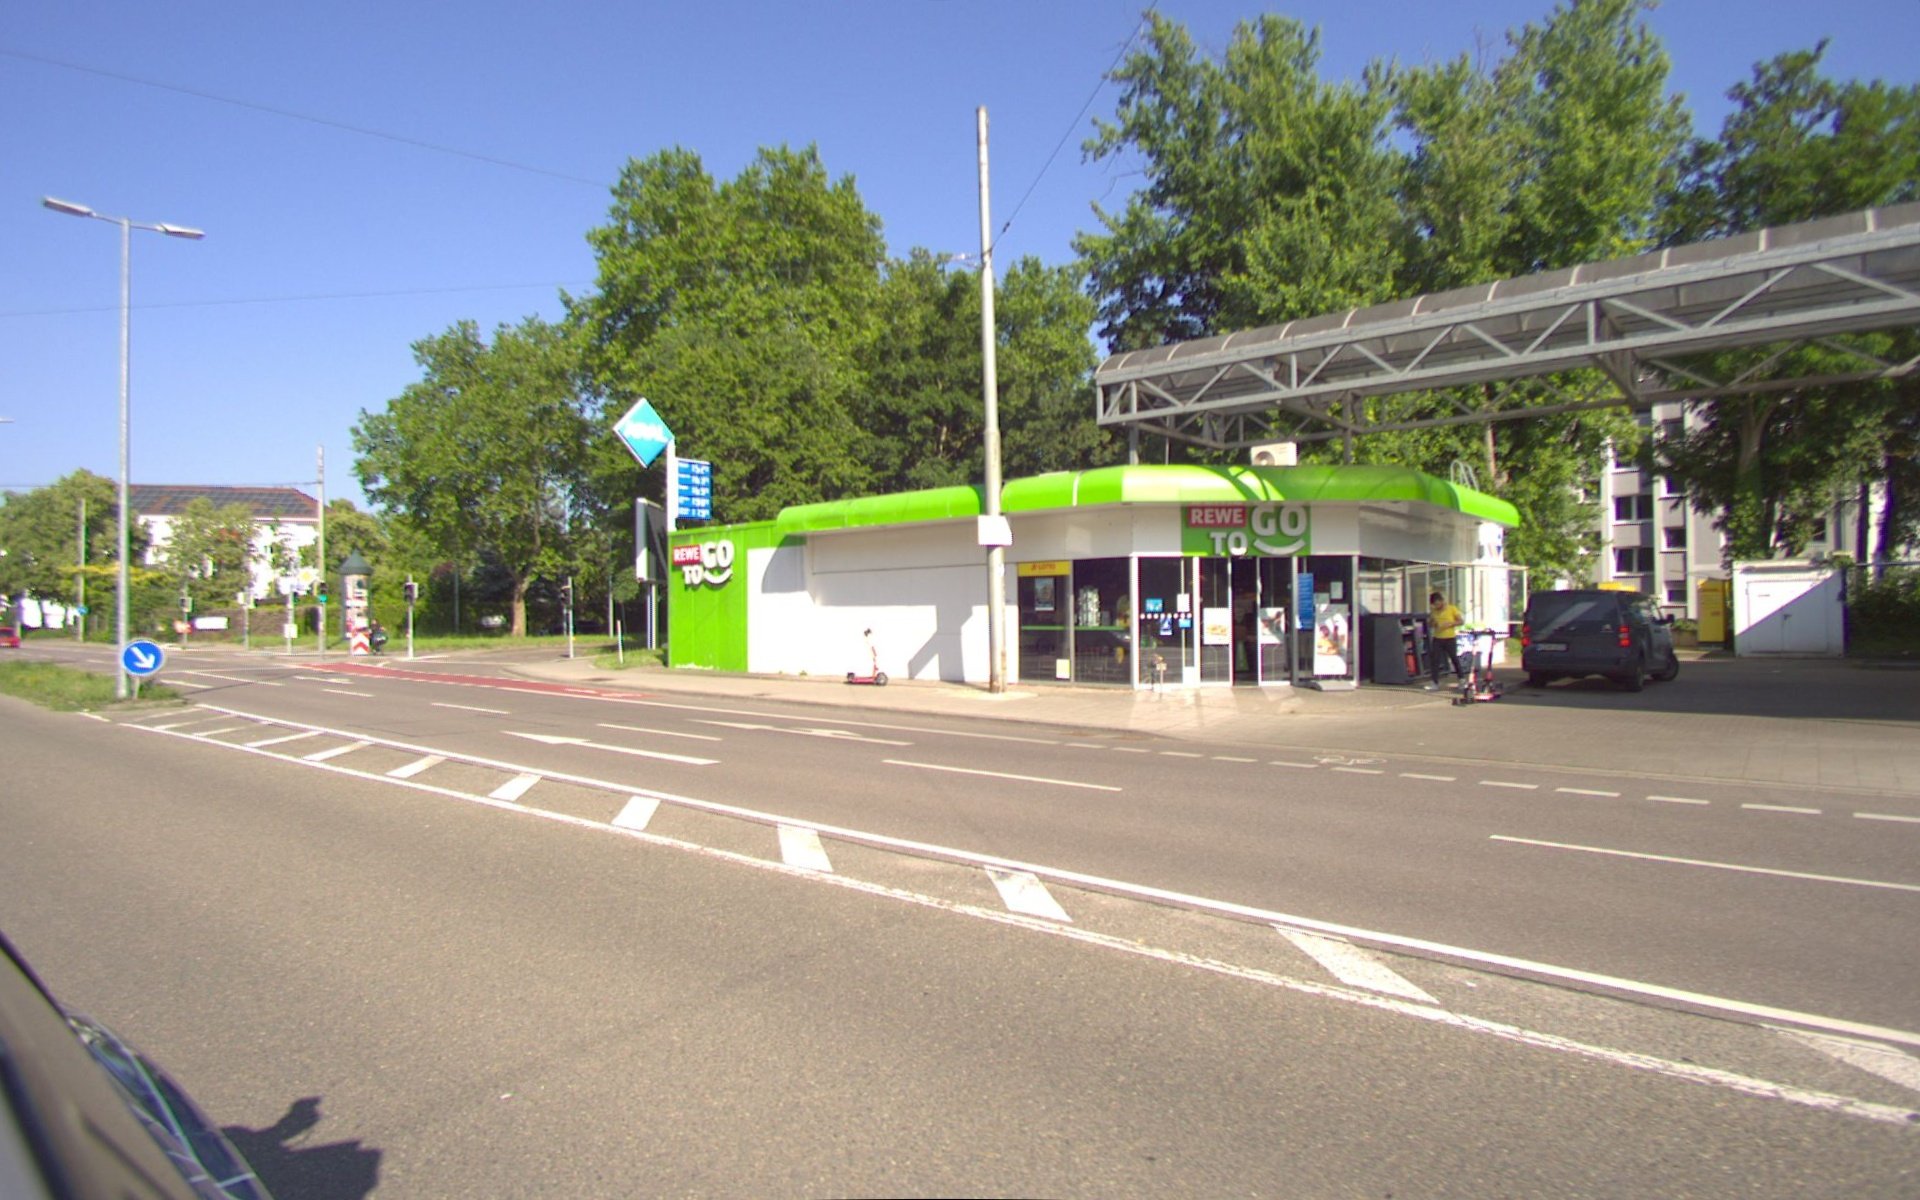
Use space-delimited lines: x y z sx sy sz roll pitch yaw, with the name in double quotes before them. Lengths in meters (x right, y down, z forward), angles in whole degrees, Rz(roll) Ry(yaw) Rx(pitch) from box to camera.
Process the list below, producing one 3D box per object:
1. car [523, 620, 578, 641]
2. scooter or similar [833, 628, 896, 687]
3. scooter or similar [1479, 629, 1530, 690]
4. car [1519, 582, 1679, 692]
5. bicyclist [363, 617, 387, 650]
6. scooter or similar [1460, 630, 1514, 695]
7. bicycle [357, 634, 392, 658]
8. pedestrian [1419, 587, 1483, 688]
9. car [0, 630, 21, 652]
"car" -29.578 2.189 73.177 3.374 1.317 1.509 -3 1 -44
"scooter or similar" -2.033 1.206 21.526 1.310 1.182 0.526 -2 3 43
"scooter or similar" 9.410 1.011 17.473 0.499 0.992 1.325 -2 -2 40
"car" 12.898 0.698 20.304 1.999 1.950 4.489 -2 -2 42
"bicyclist" -26.405 1.513 45.649 1.051 1.463 0.654 -2 -2 43
"scooter or similar" 8.564 1.000 16.439 0.499 0.994 1.247 -2 -2 40
"bicycle" -26.403 2.050 45.640 2.580 1.057 0.654 -2 -1 43
"pedestrian" 8.802 0.665 18.146 0.759 1.759 0.785 1 -2 -44
"car" -64.967 2.769 68.619 3.331 1.427 1.558 -2 -1 41
